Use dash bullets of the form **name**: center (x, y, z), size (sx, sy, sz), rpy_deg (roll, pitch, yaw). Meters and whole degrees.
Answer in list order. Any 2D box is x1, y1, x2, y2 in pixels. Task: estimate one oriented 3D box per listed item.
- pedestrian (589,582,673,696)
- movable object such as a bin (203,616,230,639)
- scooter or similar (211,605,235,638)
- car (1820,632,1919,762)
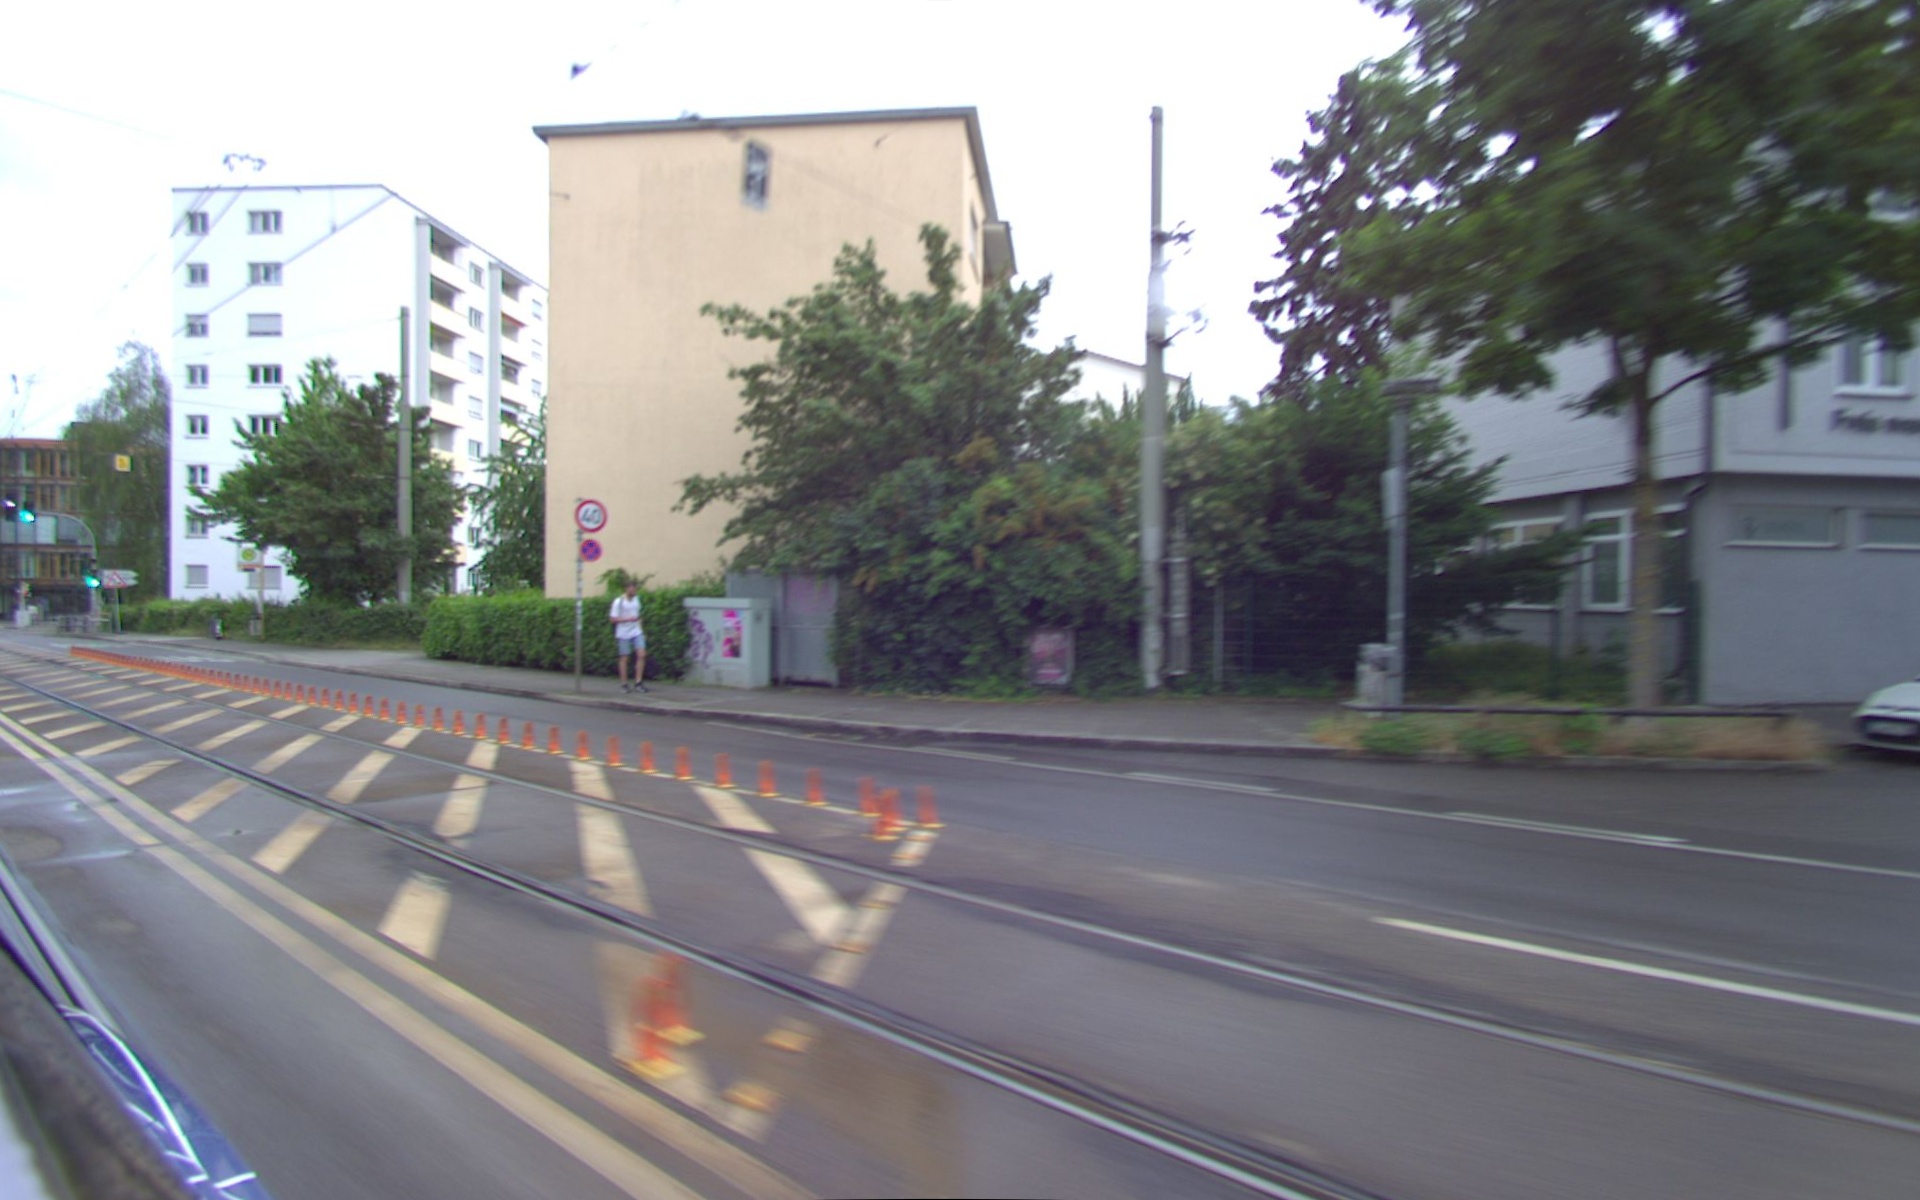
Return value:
- **pedestrian**: center (-5.594, 0.626, 17.229), size (1.015, 1.859, 0.911), rpy_deg (0, 2, 36)
- **movable object such as a bin**: center (-30.317, 1.107, 41.269), size (0.759, 0.888, 0.680), rpy_deg (1, 1, 36)
- **scooter or similar**: center (-28.963, 0.832, 39.751), size (0.565, 1.193, 1.601), rpy_deg (-1, 2, -43)
- **car**: center (13.061, 1.127, 11.959), size (4.099, 1.492, 2.001), rpy_deg (0, -2, -3)
